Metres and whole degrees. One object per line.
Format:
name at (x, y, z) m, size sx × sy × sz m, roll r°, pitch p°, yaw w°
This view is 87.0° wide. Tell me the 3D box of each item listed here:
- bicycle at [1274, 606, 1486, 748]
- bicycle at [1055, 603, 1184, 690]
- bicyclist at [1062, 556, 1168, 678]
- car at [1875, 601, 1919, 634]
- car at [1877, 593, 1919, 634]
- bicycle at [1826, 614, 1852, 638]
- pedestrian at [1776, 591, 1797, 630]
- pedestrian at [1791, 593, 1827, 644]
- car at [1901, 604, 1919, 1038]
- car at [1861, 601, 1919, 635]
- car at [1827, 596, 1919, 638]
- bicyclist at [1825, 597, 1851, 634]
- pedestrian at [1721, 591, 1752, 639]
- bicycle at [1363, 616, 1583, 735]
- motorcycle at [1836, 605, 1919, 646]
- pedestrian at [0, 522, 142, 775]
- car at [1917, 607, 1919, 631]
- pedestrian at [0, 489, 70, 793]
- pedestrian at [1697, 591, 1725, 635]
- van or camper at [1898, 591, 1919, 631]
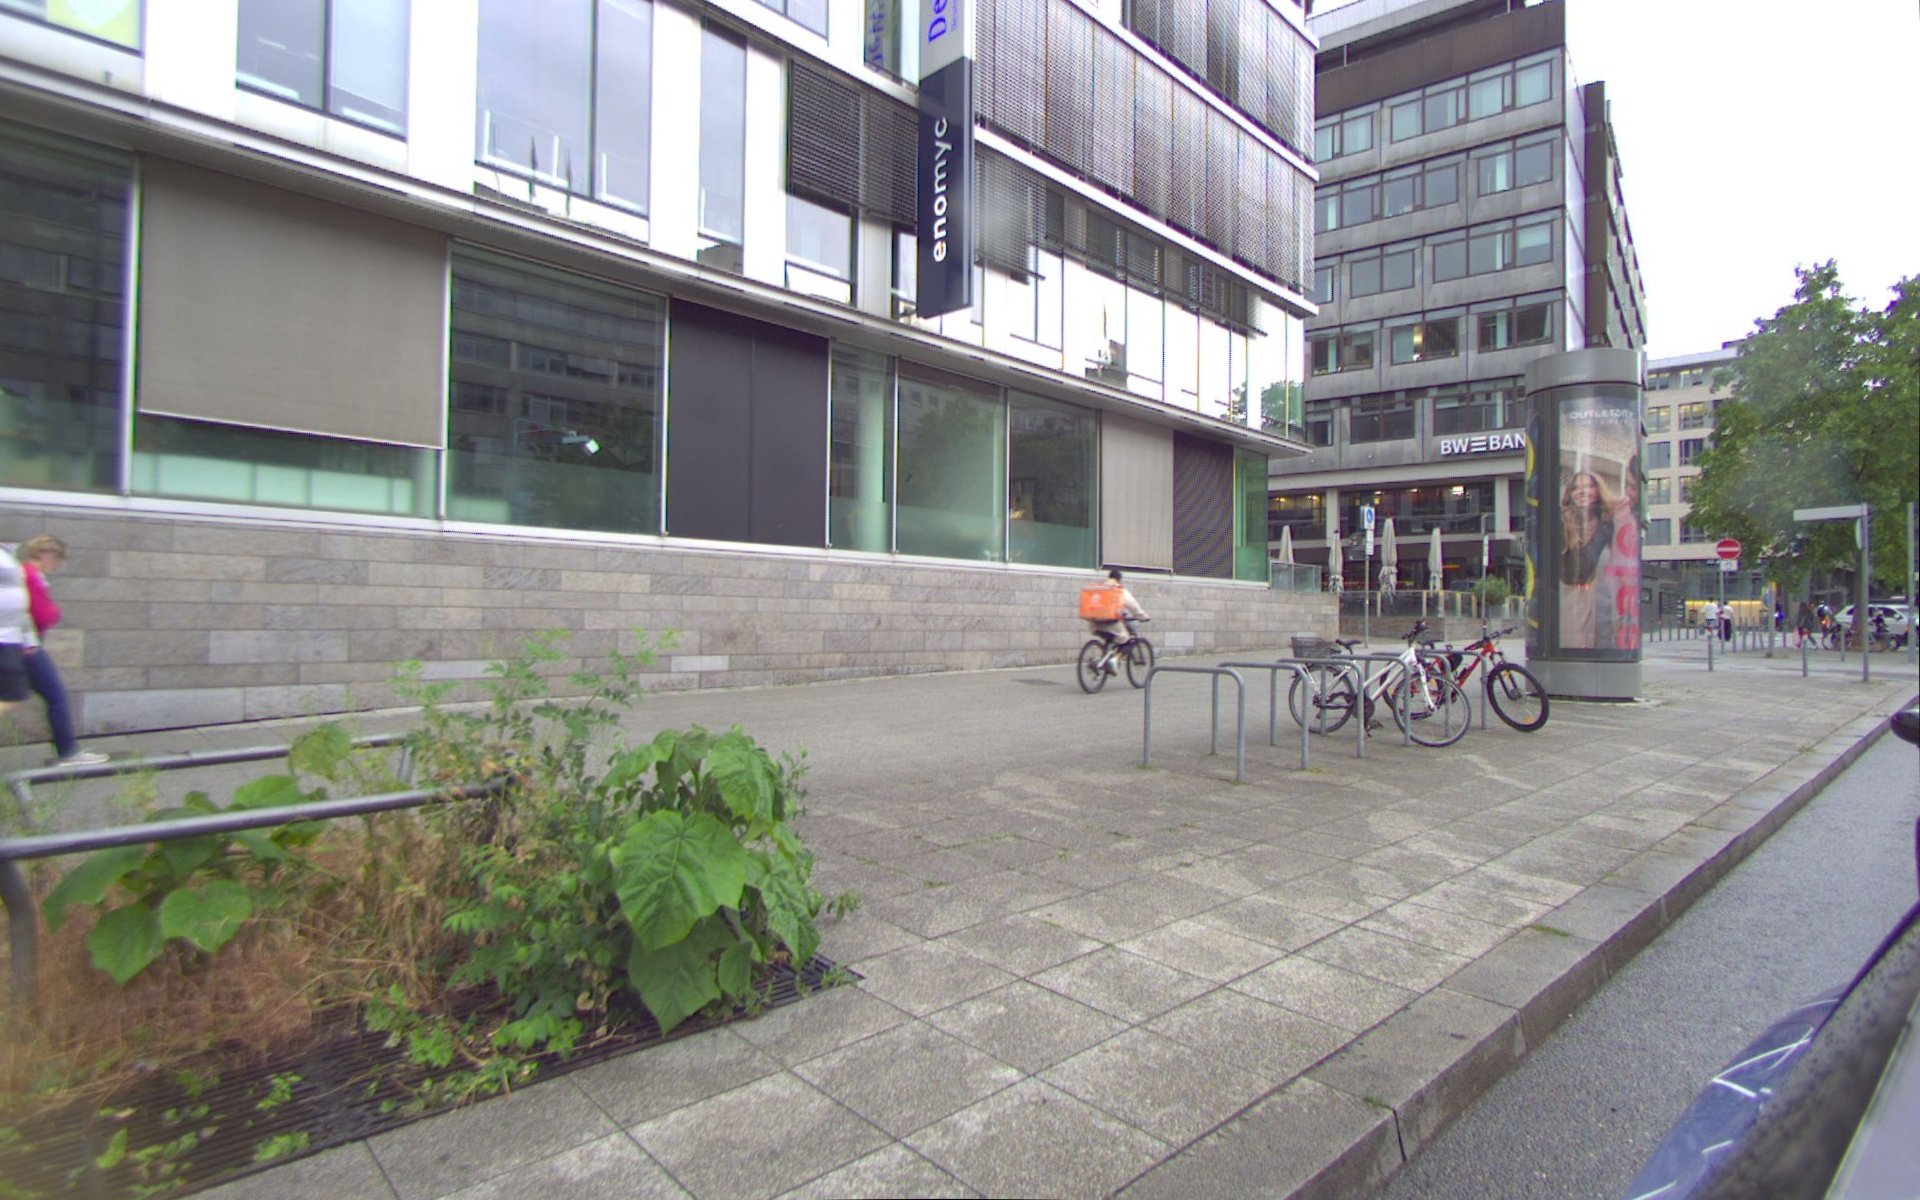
bicycle at (4.045, 0.688, 9.889) m, size 0.648 × 1.212 × 1.841 m, roll 1°, pitch 0°, yaw -37°
bicycle at (2.286, 0.615, 14.270) m, size 1.005 × 1.128 × 2.041 m, roll -1°, pitch -1°, yaw 35°
bicyclist at (2.172, 0.247, 14.151) m, size 1.008 × 1.603 × 1.121 m, roll -4°, pitch -3°, yaw 36°
car at (46.778, 0.817, 48.218) m, size 1.876 × 1.557 × 4.399 m, roll 0°, pitch -1°, yaw -14°
car at (48.788, 0.672, 50.228) m, size 1.882 × 2.018 × 4.525 m, roll 0°, pitch -1°, yaw -12°
bicycle at (43.973, 1.314, 50.639) m, size 1.945 × 1.154 × 0.775 m, roll 1°, pitch -5°, yaw -45°
pedestrian at (41.544, 0.540, 50.855) m, size 0.719 × 1.908 × 0.646 m, roll -2°, pitch -2°, yaw 43°
pedestrian at (28.601, 0.612, 34.104) m, size 0.708 × 1.707 × 0.529 m, roll 0°, pitch -2°, yaw 2°
car at (5.069, 0.730, 4.070) m, size 3.770 × 1.435 × 1.631 m, roll 0°, pitch -1°, yaw -43°
car at (44.729, 0.813, 46.691) m, size 1.876 × 1.557 × 4.365 m, roll 0°, pitch -1°, yaw -14°
car at (38.721, 0.694, 41.368) m, size 1.876 × 1.671 × 4.812 m, roll 0°, pitch -1°, yaw -11°
bicyclist at (44.013, 0.769, 50.736) m, size 0.809 × 1.772 × 1.063 m, roll -6°, pitch -4°, yaw 43°
pedestrian at (33.664, 0.643, 43.886) m, size 0.739 × 2.065 × 0.852 m, roll 1°, pitch -2°, yaw -35°
bicycle at (5.505, 0.753, 10.981) m, size 0.793 × 1.118 × 1.989 m, roll 1°, pitch 0°, yaw -37°
motorcycle at (31.781, 0.872, 35.036) m, size 0.664 × 1.375 × 2.090 m, roll 1°, pitch -2°, yaw -34°
pedestrian at (-6.600, 0.313, 7.234) m, size 0.718 × 1.711 × 1.082 m, roll 2°, pitch 1°, yaw 44°
car at (58.722, 1.089, 58.928) m, size 1.673 × 1.442 × 4.068 m, roll 0°, pitch -1°, yaw -12°
pedestrian at (-6.174, 0.230, 6.187) m, size 0.900 × 1.814 × 1.030 m, roll 2°, pitch 1°, yaw 44°
pedestrian at (33.022, 0.575, 44.509) m, size 0.883 × 1.893 × 0.802 m, roll 1°, pitch -2°, yaw -42°
van or camper at (61.334, 0.648, 61.428) m, size 2.267 × 2.479 × 6.275 m, roll 0°, pitch -1°, yaw -11°
